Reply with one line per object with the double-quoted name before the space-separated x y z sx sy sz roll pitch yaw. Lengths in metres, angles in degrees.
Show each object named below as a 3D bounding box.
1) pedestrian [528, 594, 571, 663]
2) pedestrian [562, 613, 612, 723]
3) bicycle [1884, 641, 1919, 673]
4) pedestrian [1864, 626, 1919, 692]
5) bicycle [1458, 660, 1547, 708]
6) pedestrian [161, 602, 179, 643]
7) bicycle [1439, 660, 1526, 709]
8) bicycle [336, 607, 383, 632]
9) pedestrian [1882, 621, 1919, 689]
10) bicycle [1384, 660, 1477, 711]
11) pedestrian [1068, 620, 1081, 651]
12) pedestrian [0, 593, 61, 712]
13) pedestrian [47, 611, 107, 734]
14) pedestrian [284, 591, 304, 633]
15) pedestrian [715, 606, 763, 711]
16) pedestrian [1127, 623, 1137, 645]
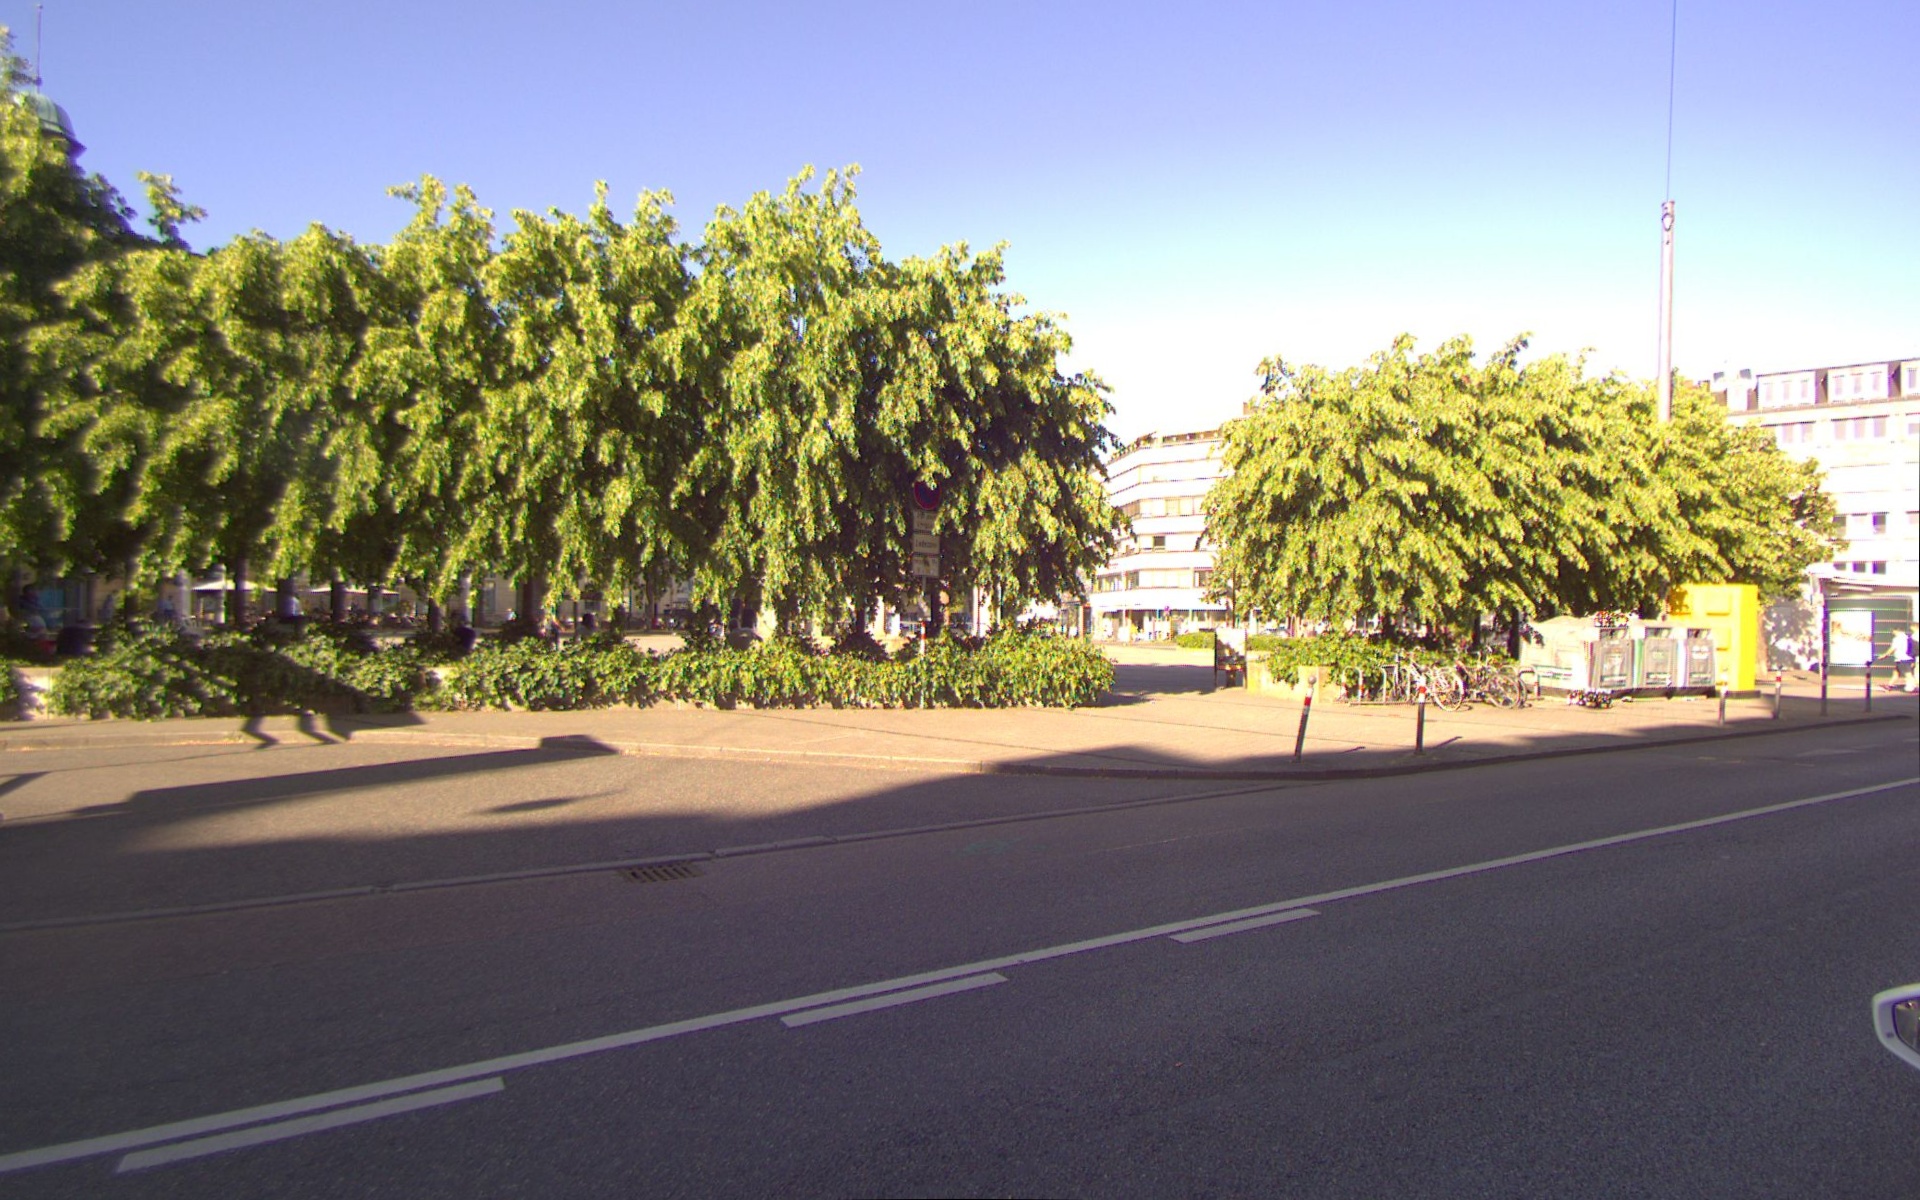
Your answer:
"pedestrian" -10.771 0.742 26.375 0.918 1.775 0.728 1 0 -14
"pedestrian" -6.583 1.180 17.735 0.722 1.881 0.578 1 0 -27
"bicycle" 35.104 2.084 36.545 0.796 1.119 2.073 1 -1 -29
"pedestrian" 24.233 1.518 26.044 0.727 1.658 0.983 1 0 -26
"bicycle" 10.162 1.568 18.866 0.468 0.779 1.468 2 0 -26
"pedestrian" -36.025 1.031 45.801 0.596 1.816 0.576 1 0 -40
"bicycle" 9.661 1.547 18.632 0.435 0.779 1.469 1 0 -25
"bicycle" -26.458 0.863 44.242 2.018 1.030 0.504 1 0 16
"pedestrian" 25.044 1.440 26.452 0.734 1.748 0.898 1 0 -26
"bicycle" 8.414 1.516 18.040 0.467 0.779 1.654 1 0 -20
"pedestrian" 7.641 2.378 66.954 0.670 2.040 0.579 1 0 -23
"pedestrian" -15.073 0.838 16.294 0.672 1.881 0.576 2 0 -41
"pedestrian" -13.941 1.129 15.870 0.595 1.881 0.577 1 0 -33
"pedestrian" -29.203 0.531 44.026 0.597 1.816 0.575 2 0 -44
"pedestrian" -4.062 1.054 18.496 0.574 1.881 0.598 1 0 41
"pedestrian" 14.477 2.822 84.431 0.591 1.816 0.581 1 0 -12
